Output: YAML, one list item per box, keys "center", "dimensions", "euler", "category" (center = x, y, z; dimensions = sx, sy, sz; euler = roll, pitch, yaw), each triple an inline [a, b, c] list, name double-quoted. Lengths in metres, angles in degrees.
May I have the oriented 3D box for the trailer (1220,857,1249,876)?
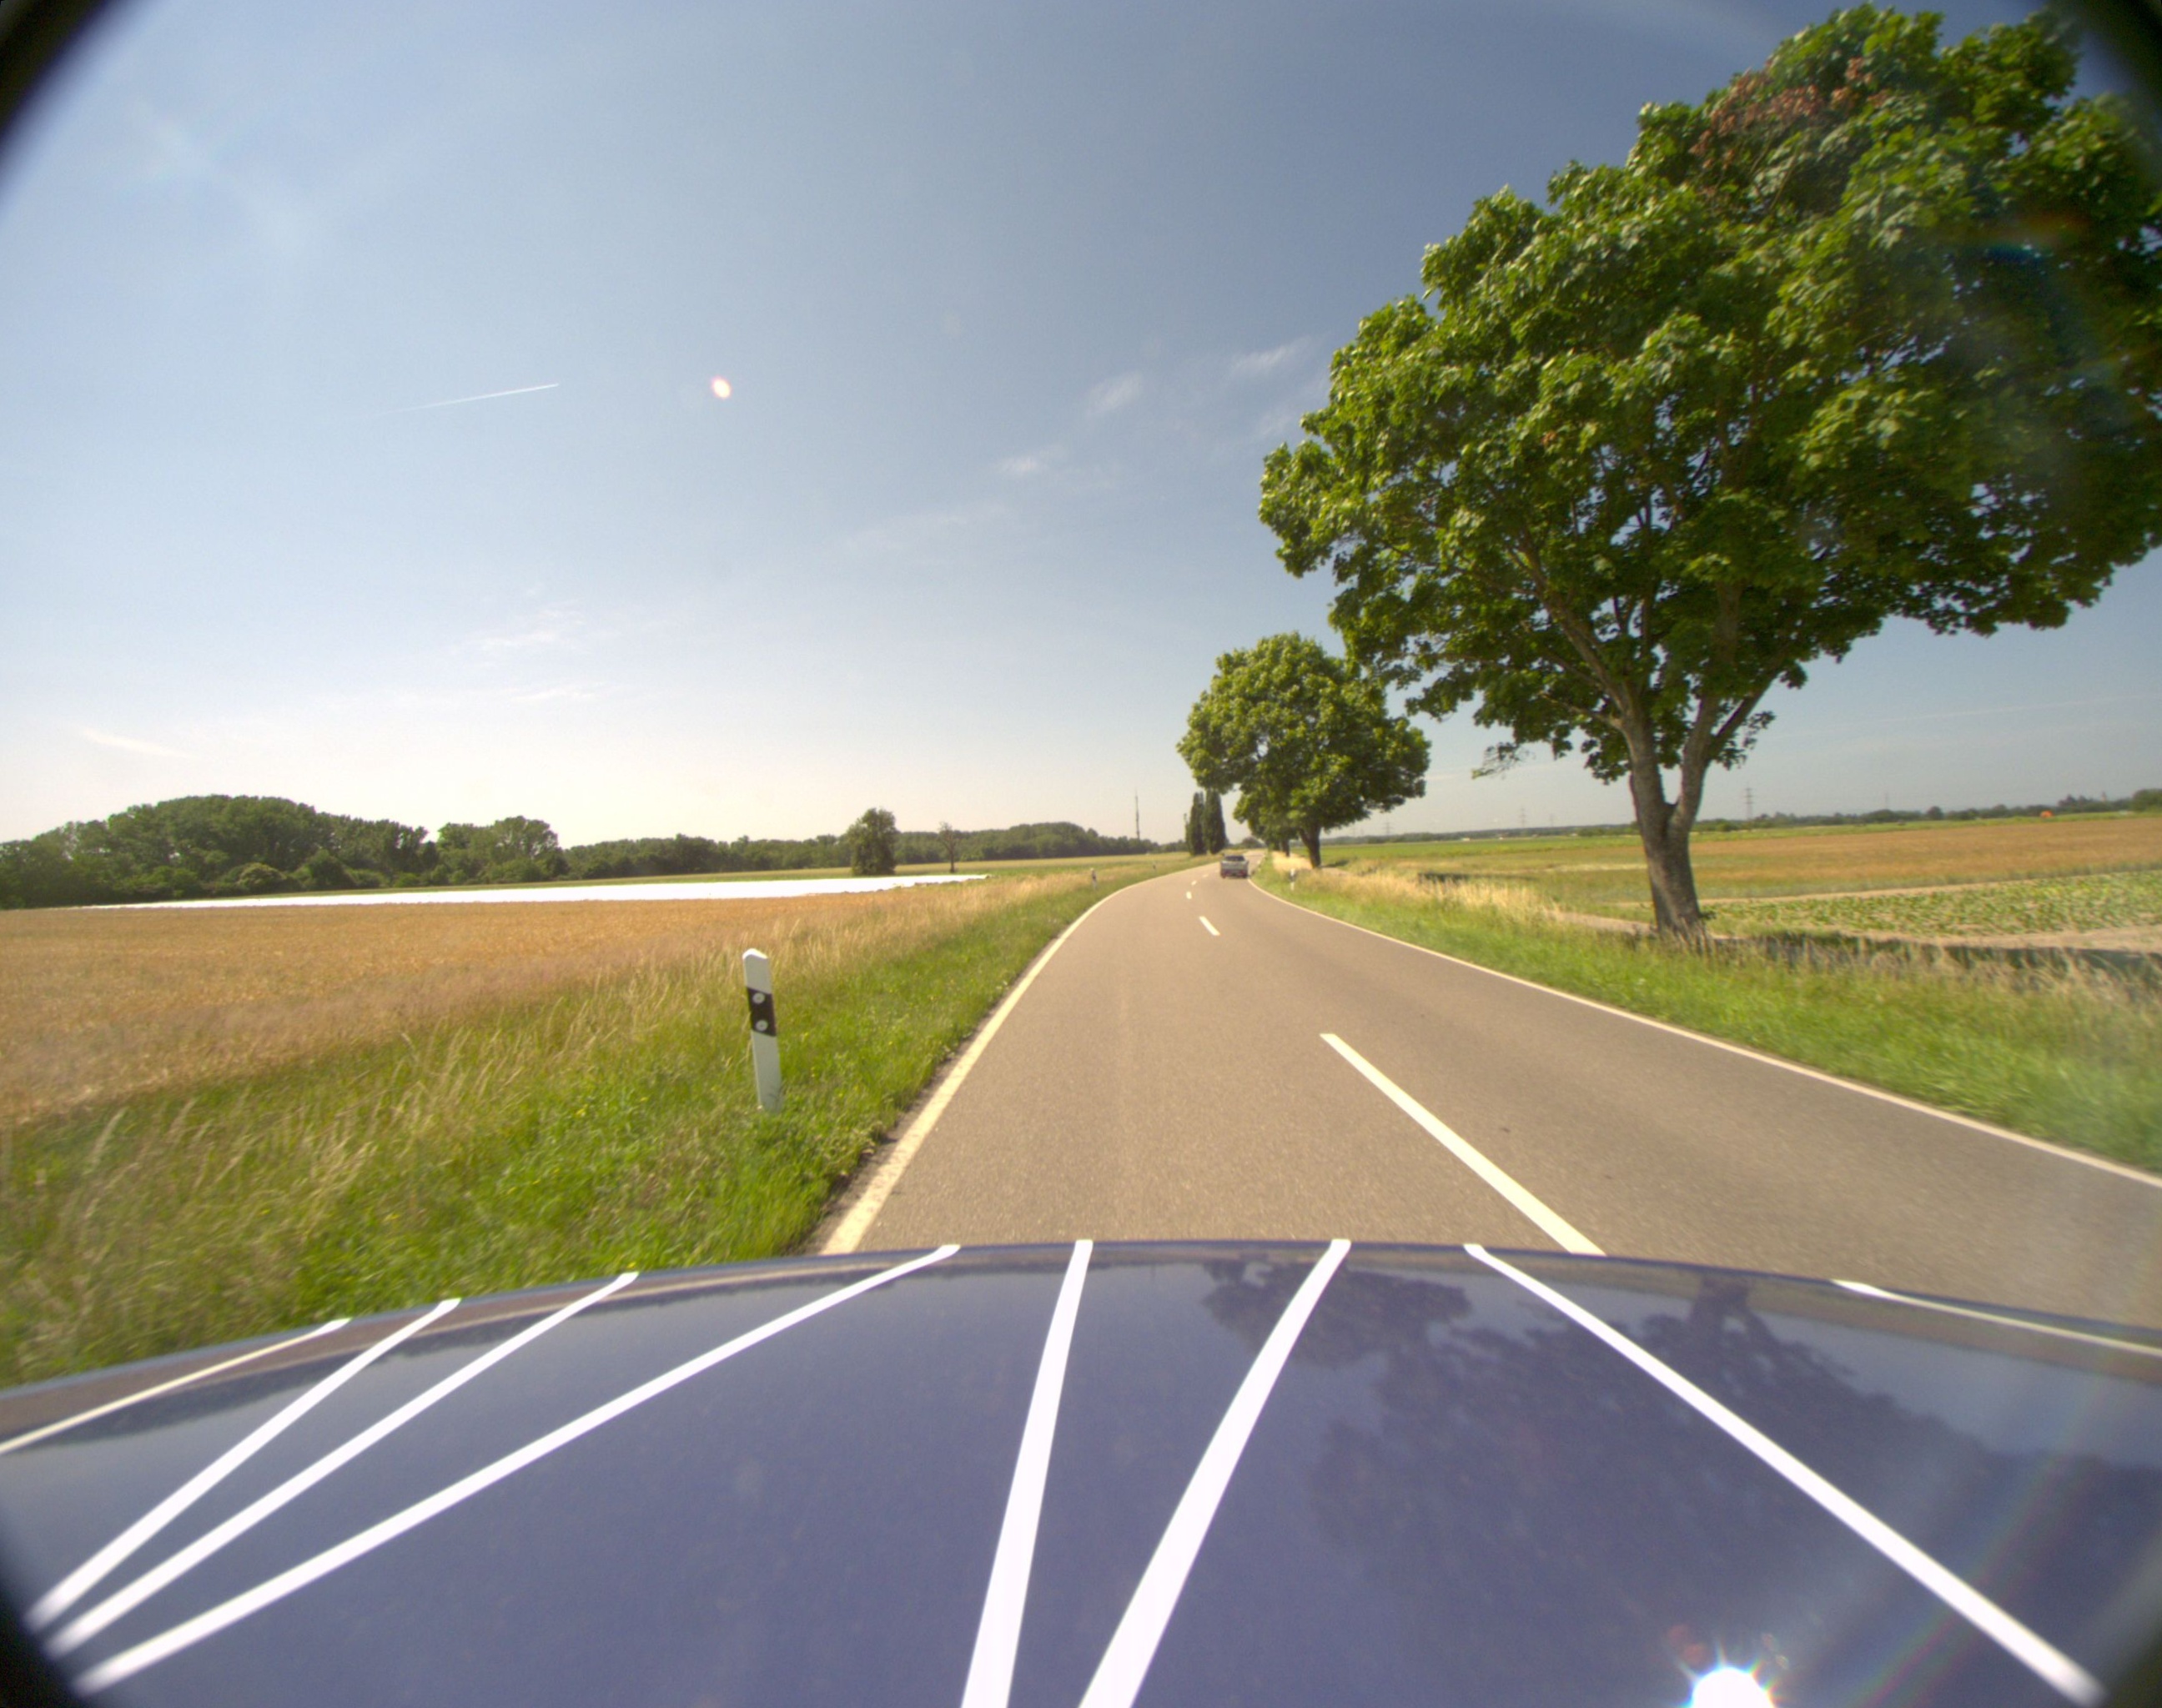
- center: [9.504, 0.763, 46.892]
  dimensions: [1.625, 1.059, 4.122]
  euler: [1, 1, 12]
  category: "trailer"

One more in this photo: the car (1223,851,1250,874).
- center: [10.416, 0.518, 50.927]
  dimensions: [1.646, 1.421, 4.184]
  euler: [0, 1, 12]
  category: "car"
